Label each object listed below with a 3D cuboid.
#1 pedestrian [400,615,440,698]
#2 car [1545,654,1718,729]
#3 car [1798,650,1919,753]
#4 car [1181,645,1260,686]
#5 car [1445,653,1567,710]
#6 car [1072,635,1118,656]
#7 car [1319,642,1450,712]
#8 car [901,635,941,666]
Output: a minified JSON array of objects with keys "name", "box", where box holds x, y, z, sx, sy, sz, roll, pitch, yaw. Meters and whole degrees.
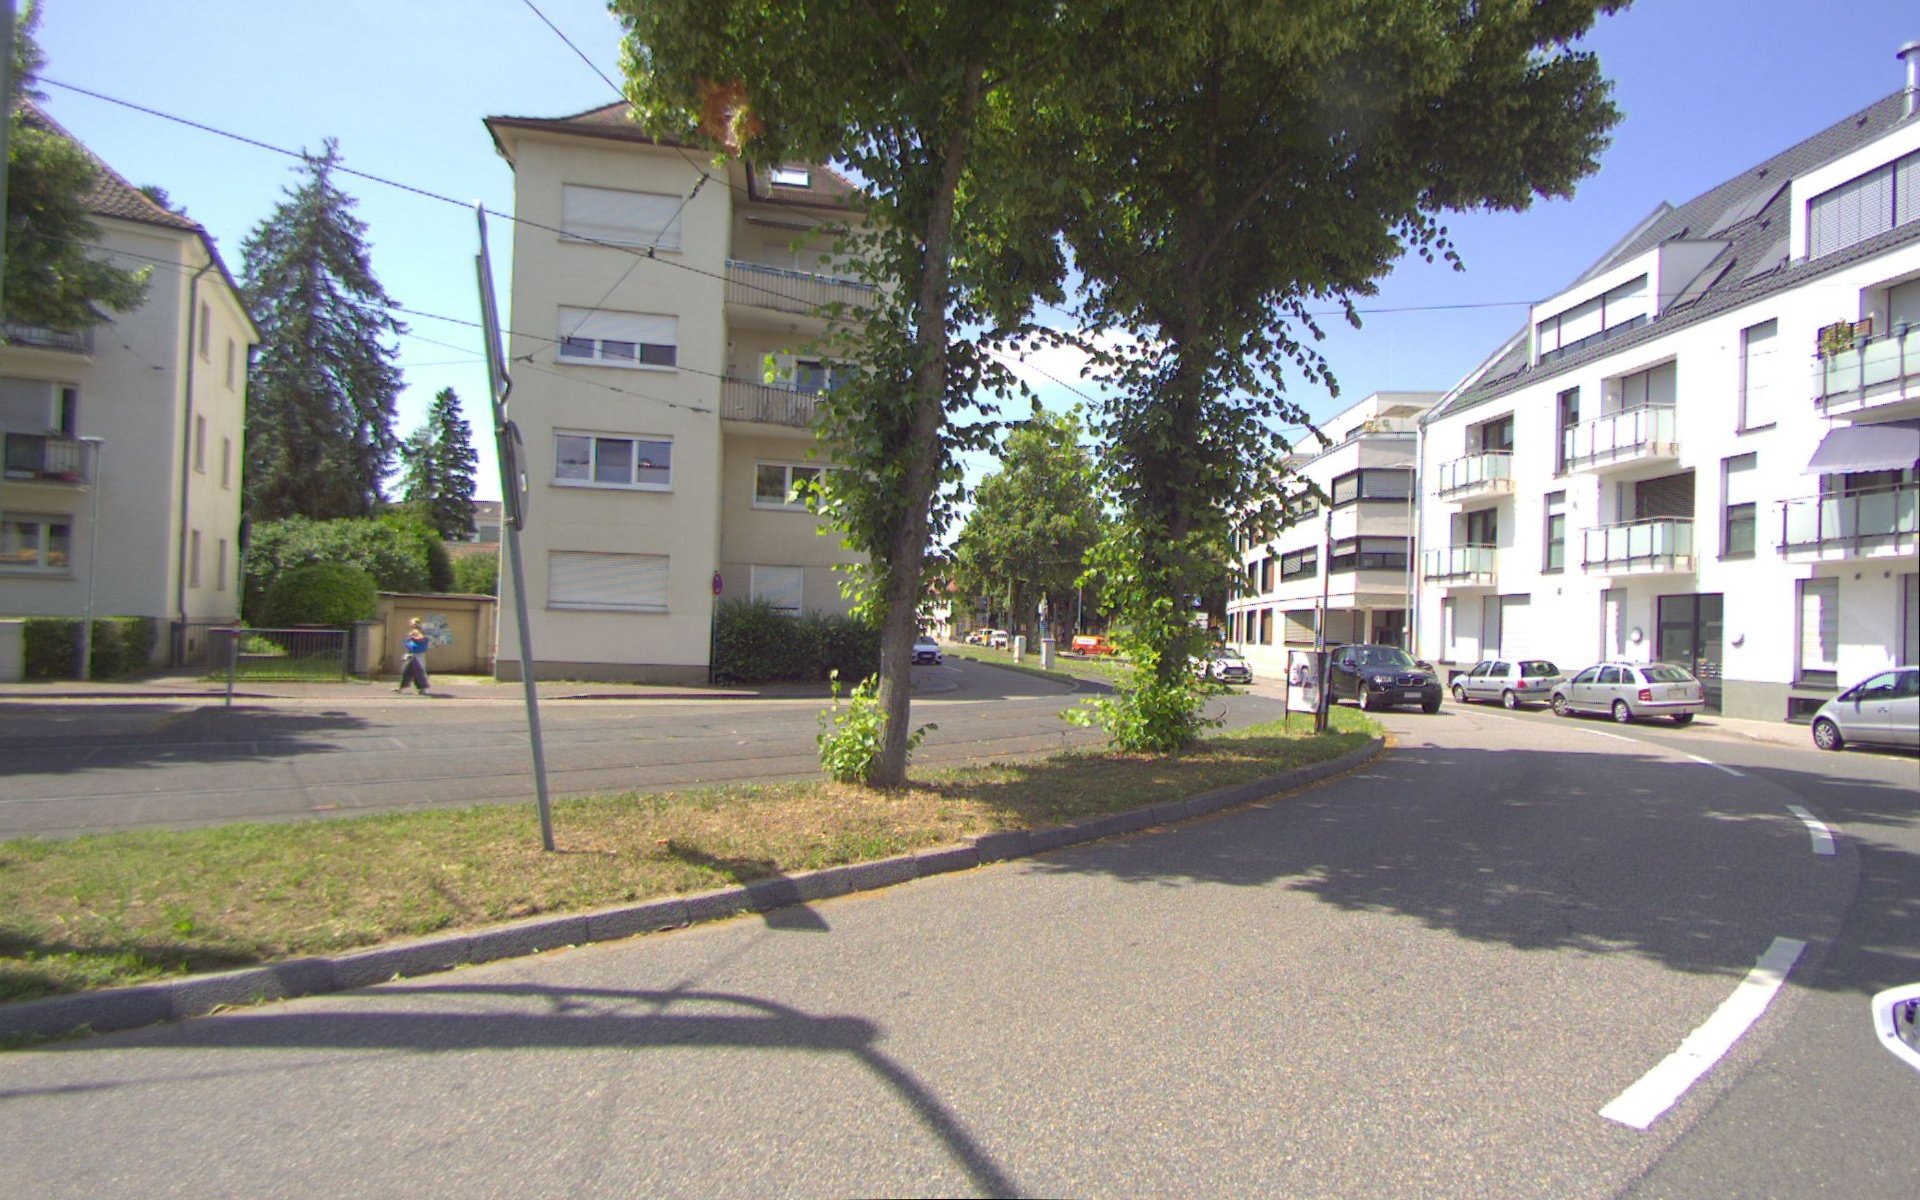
[{"name":"pedestrian","box":[-11.364,1.187,21.127,0.601,1.674,0.570,4,0,-34]},{"name":"car","box":[16.522,2.195,24.948,1.629,1.485,3.908,-2,-1,0]},{"name":"car","box":[16.718,1.796,17.328,1.553,1.607,3.619,4,-1,3]},{"name":"car","box":[10.413,2.600,40.466,1.753,1.260,3.996,4,-1,-5]},{"name":"car","box":[16.090,2.365,29.798,1.396,1.376,3.500,-2,-1,-6]},{"name":"car","box":[12.296,4.156,91.292,3.985,1.547,1.653,4,0,8]},{"name":"car","box":[10.681,1.900,25.602,1.856,1.572,4.400,2,-2,6]},{"name":"car","box":[-2.028,2.555,51.400,1.557,1.305,3.847,4,-1,-9]}]
